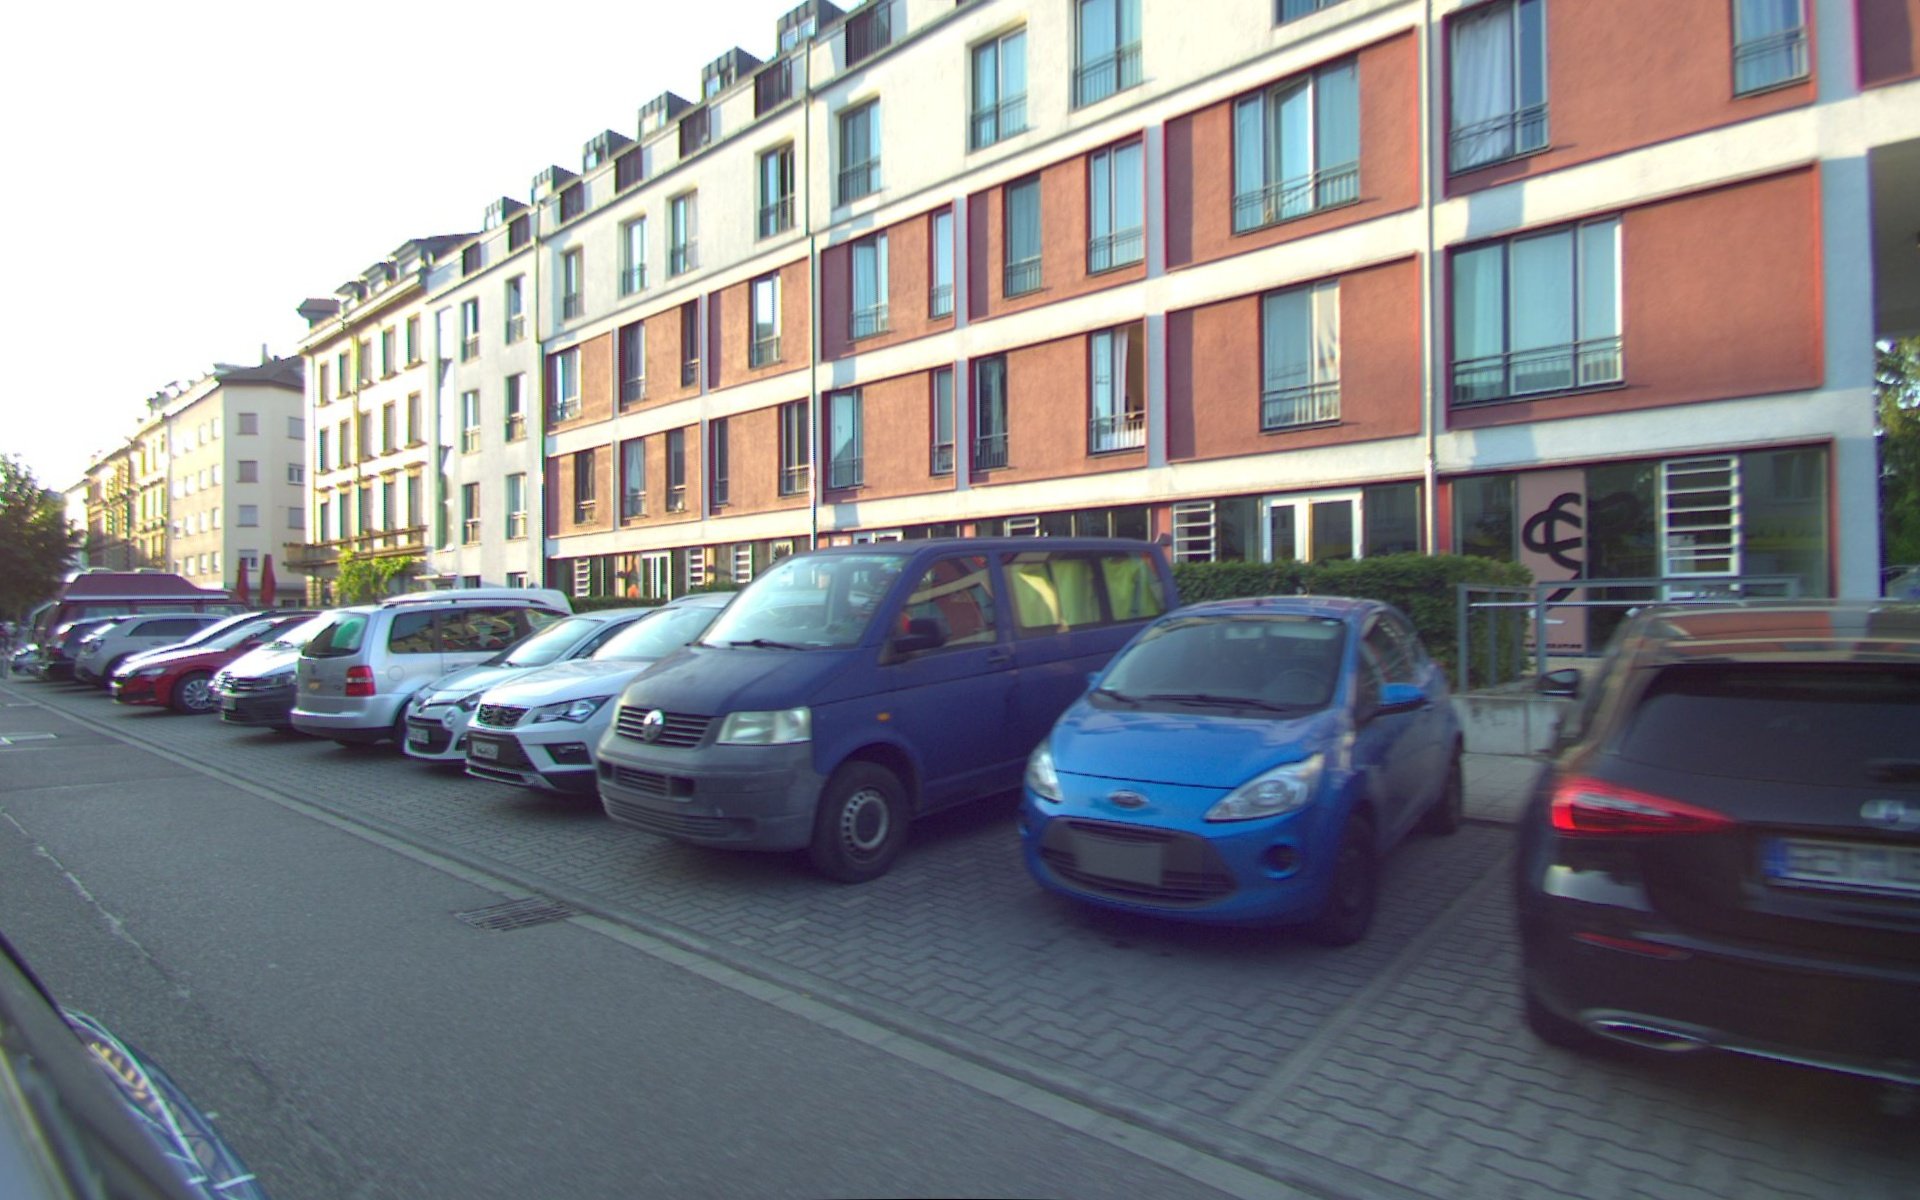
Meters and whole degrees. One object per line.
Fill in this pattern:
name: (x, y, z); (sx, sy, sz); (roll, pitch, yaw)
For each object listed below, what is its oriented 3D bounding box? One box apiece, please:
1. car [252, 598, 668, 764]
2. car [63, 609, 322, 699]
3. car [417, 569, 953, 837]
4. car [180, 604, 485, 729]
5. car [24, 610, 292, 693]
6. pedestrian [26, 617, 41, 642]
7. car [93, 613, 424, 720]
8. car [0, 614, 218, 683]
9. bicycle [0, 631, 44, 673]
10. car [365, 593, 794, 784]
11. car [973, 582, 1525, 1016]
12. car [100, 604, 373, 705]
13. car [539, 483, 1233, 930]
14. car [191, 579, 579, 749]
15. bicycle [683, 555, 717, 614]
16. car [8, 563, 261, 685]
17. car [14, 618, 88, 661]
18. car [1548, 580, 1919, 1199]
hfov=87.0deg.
car: (-5.687, 0.823, 11.981); (2.047, 1.601, 3.956); (-1, -1, 32)
car: (-15.329, 1.003, 20.347); (1.755, 1.551, 3.906); (-1, 0, 43)
car: (-2.128, 0.680, 8.758); (1.901, 1.736, 4.142); (-1, -1, 40)
car: (-9.264, 0.888, 15.142); (1.782, 1.574, 3.496); (-1, 0, 39)
car: (-17.141, 1.023, 21.804); (1.705, 1.536, 4.292); (-1, 0, 40)
pedestrian: (-58.201, 1.855, 63.568); (0.638, 1.545, 0.636); (-1, -1, 43)
car: (-11.449, 0.993, 16.742); (1.788, 1.505, 4.218); (-1, -1, 41)
car: (-21.133, 1.134, 25.181); (1.800, 1.427, 3.944); (-1, 1, 34)
bicycle: (-25.631, 1.392, 27.551); (2.414, 1.061, 0.794); (-1, 0, 43)
car: (-3.847, 0.774, 10.791); (1.795, 1.630, 3.949); (-1, -1, 38)
car: (1.889, 0.690, 5.634); (1.651, 1.504, 3.848); (-1, 1, 37)
car: (-13.286, 0.918, 18.740); (1.700, 1.629, 3.844); (-1, 0, 43)
car: (-0.165, 0.505, 7.139); (2.000, 2.070, 4.801); (-1, -1, 43)
car: (-7.504, 0.733, 13.575); (1.894, 1.910, 4.139); (-1, -1, 37)
bicycle: (-6.084, -0.335, 23.666); (0.505, 1.323, 1.822); (0, -1, -23)
car: (-19.168, 0.530, 23.643); (1.931, 2.576, 4.355); (-1, -1, 42)
car: (-35.108, 1.492, 39.056); (3.735, 1.534, 1.577); (-1, 1, 40)
car: (3.497, 0.684, 3.878); (1.735, 1.426, 4.102); (-1, 1, 36)
